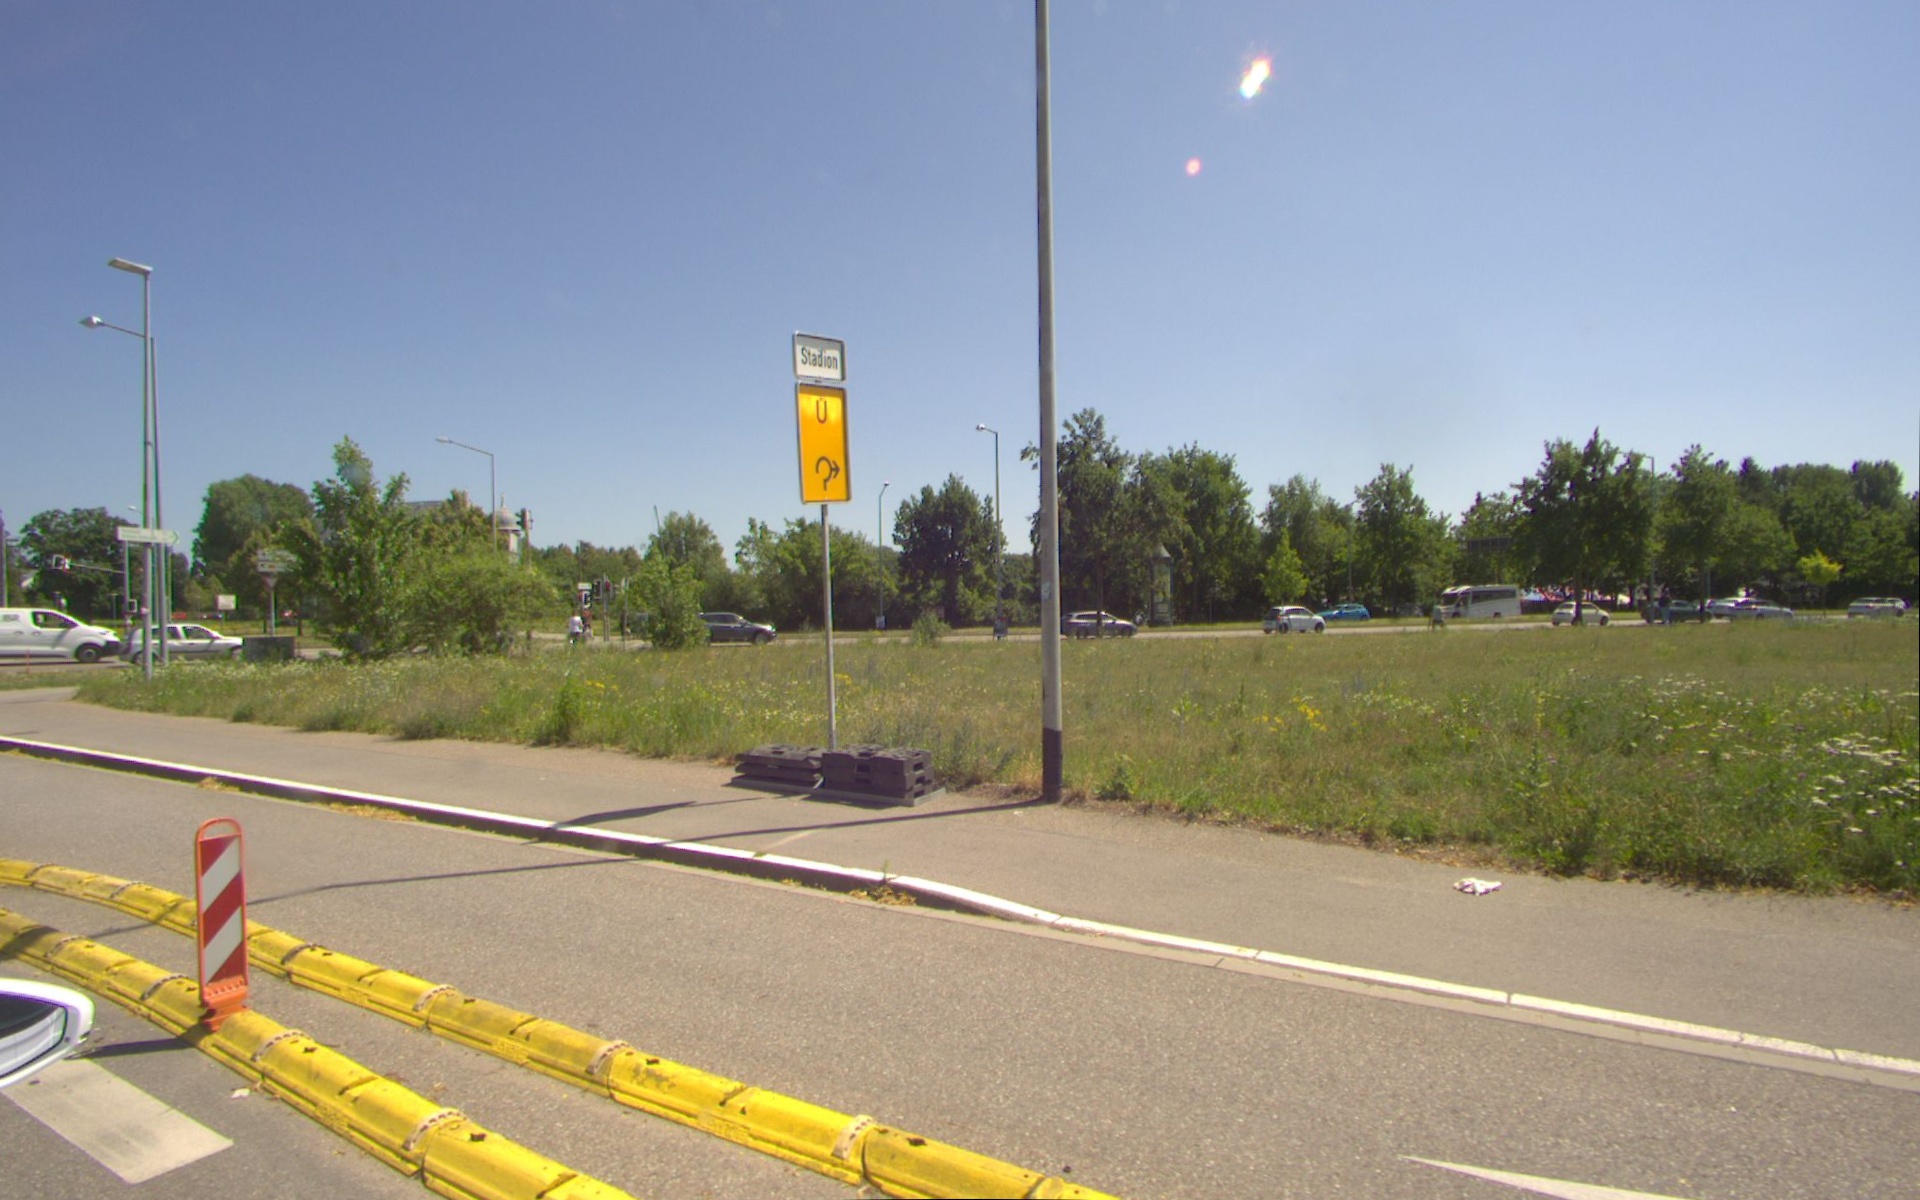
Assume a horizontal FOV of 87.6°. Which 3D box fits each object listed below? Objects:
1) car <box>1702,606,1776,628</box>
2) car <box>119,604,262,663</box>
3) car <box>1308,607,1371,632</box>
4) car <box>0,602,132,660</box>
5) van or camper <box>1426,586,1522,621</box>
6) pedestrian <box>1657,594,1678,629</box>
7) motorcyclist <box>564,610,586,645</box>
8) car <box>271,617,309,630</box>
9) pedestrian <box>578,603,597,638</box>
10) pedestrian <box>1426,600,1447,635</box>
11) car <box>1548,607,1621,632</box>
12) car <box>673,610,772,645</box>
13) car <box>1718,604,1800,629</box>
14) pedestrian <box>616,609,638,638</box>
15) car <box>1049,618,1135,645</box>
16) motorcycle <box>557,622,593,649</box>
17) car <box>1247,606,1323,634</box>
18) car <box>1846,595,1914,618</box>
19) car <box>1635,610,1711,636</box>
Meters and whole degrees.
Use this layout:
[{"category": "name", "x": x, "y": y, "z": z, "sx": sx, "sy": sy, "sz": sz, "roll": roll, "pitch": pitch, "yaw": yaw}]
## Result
[{"category": "car", "x": 55.112, "y": 1.208, "z": 70.842, "sx": 4.559, "sy": 1.572, "sz": 1.738, "roll": 0, "pitch": -1, "yaw": -16}, {"category": "car", "x": -25.771, "y": 1.101, "z": 33.593, "sx": 1.616, "sy": 1.874, "sz": 3.644, "roll": -1, "pitch": -1, "yaw": 44}, {"category": "car", "x": 27.984, "y": 1.441, "z": 73.946, "sx": 3.927, "sy": 1.861, "sz": 1.998, "roll": 0, "pitch": -1, "yaw": -15}, {"category": "car", "x": -31.488, "y": 1.046, "z": 34.096, "sx": 1.980, "sy": 1.874, "sz": 4.941, "roll": -1, "pitch": -2, "yaw": 44}, {"category": "van or camper", "x": 41.592, "y": 0.279, "z": 81.016, "sx": 7.383, "sy": 2.728, "sz": 2.508, "roll": 0, "pitch": -1, "yaw": -19}, {"category": "pedestrian", "x": 35.377, "y": 0.577, "z": 50.061, "sx": 0.724, "sy": 1.712, "sz": 0.497, "roll": 0, "pitch": 0, "yaw": -18}, {"category": "motorcyclist", "x": -14.658, "y": 1.057, "z": 38.153, "sx": 0.570, "sy": 1.306, "sz": 0.615, "roll": 0, "pitch": -1, "yaw": 3}, {"category": "car", "x": -92.013, "y": 3.287, "z": 137.490, "sx": 1.964, "sy": 1.736, "sz": 3.996, "roll": -1, "pitch": -1, "yaw": 16}, {"category": "pedestrian", "x": -20.010, "y": 1.109, "z": 53.769, "sx": 0.726, "sy": 1.894, "sz": 0.648, "roll": -1, "pitch": -1, "yaw": 34}, {"category": "pedestrian", "x": 21.730, "y": 0.793, "z": 45.694, "sx": 0.724, "sy": 1.583, "sz": 0.497, "roll": 0, "pitch": 0, "yaw": -18}, {"category": "car", "x": 39.277, "y": 1.234, "z": 63.014, "sx": 3.928, "sy": 1.572, "sz": 1.738, "roll": 0, "pitch": -1, "yaw": -16}, {"category": "car", "x": -11.300, "y": 1.279, "z": 47.685, "sx": 4.373, "sy": 1.616, "sz": 1.995, "roll": 0, "pitch": -1, "yaw": -22}, {"category": "car", "x": 50.784, "y": 1.067, "z": 63.676, "sx": 3.999, "sy": 1.524, "sz": 1.999, "roll": 0, "pitch": -1, "yaw": -12}, {"category": "pedestrian", "x": -18.012, "y": 1.280, "z": 54.112, "sx": 0.811, "sy": 1.583, "sz": 0.790, "roll": -1, "pitch": -1, "yaw": 33}, {"category": "car", "x": 7.040, "y": 1.673, "z": 53.536, "sx": 4.131, "sy": 1.409, "sz": 1.899, "roll": 0, "pitch": -1, "yaw": -15}, {"category": "motorcycle", "x": -14.633, "y": 1.347, "z": 38.108, "sx": 0.619, "sy": 0.982, "sz": 1.709, "roll": 0, "pitch": -1, "yaw": 3}, {"category": "car", "x": 18.758, "y": 1.144, "z": 57.820, "sx": 3.928, "sy": 1.572, "sz": 1.738, "roll": 0, "pitch": -1, "yaw": -16}, {"category": "car", "x": 64.815, "y": 0.464, "z": 70.588, "sx": 3.928, "sy": 1.572, "sz": 1.738, "roll": 0, "pitch": -1, "yaw": -16}, {"category": "car", "x": 46.605, "y": 1.491, "z": 65.459, "sx": 4.331, "sy": 1.571, "sz": 1.737, "roll": 2, "pitch": -2, "yaw": -17}]
